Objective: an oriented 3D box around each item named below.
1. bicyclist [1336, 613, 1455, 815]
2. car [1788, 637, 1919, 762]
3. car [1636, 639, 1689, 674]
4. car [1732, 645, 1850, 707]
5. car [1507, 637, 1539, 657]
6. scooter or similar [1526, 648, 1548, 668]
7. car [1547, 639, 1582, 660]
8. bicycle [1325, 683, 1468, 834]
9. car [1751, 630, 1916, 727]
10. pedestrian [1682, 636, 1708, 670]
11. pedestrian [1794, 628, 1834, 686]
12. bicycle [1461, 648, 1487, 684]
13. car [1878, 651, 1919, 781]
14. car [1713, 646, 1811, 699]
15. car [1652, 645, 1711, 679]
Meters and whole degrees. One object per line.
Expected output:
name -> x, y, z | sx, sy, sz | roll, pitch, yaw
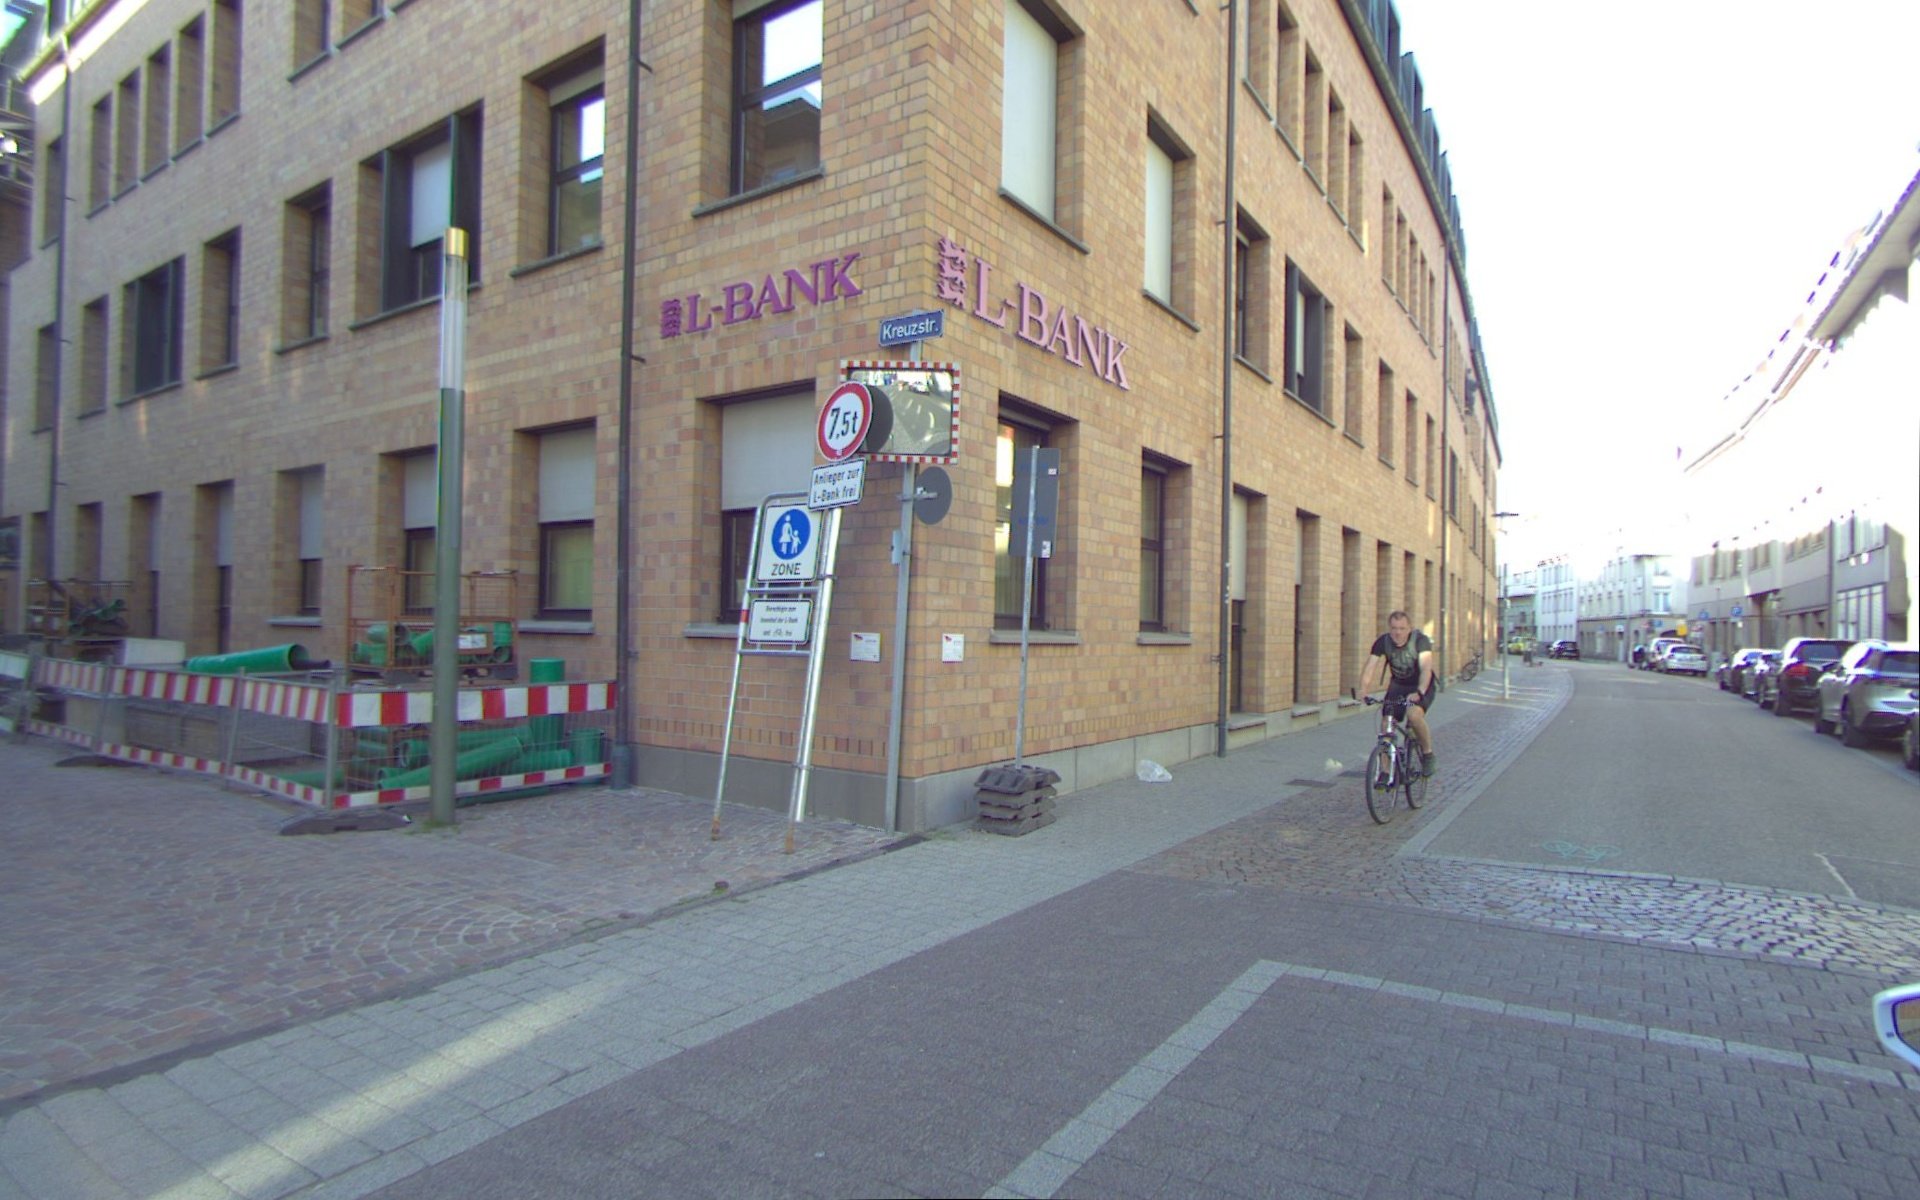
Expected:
bicyclist -> 3.851, 0.978, 8.864 | 0.654, 1.663, 0.921 | -5, -5, 40
car -> 15.065, 1.524, 16.267 | 1.966, 1.724, 4.830 | 3, 0, 33
car -> 39.352, 3.153, 56.371 | 1.803, 1.814, 5.207 | 2, -1, 28
car -> 22.616, 2.001, 27.508 | 1.781, 1.431, 4.779 | 3, -1, 32
car -> 58.980, 4.918, 105.223 | 2.018, 2.040, 4.177 | 1, -1, 16
scooter or similar -> 36.184, 3.641, 62.960 | 1.343, 1.233, 0.693 | 2, -2, -34
car -> 53.761, 4.354, 89.418 | 1.936, 1.714, 4.101 | 2, -1, 21
bicycle -> 3.895, 1.341, 8.896 | 0.643, 1.146, 1.727 | -5, -5, 40
car -> 19.226, 1.641, 22.365 | 2.074, 1.809, 5.038 | 2, -1, 34
pedestrian -> 40.935, 2.931, 55.954 | 1.026, 1.825, 1.197 | 1, -2, 28
pedestrian -> 26.018, 1.731, 30.631 | 0.778, 1.743, 0.744 | -2, -3, 33
bicycle -> 18.076, 2.301, 35.338 | 0.621, 1.178, 1.803 | 4, 0, 24
car -> 12.331, 1.450, 11.595 | 1.798, 1.524, 4.587 | 4, 0, 34
car -> 25.871, 2.277, 32.565 | 1.867, 1.472, 5.213 | 2, -1, 32
car -> 36.423, 3.092, 50.793 | 1.813, 1.497, 4.162 | 3, -1, 28
